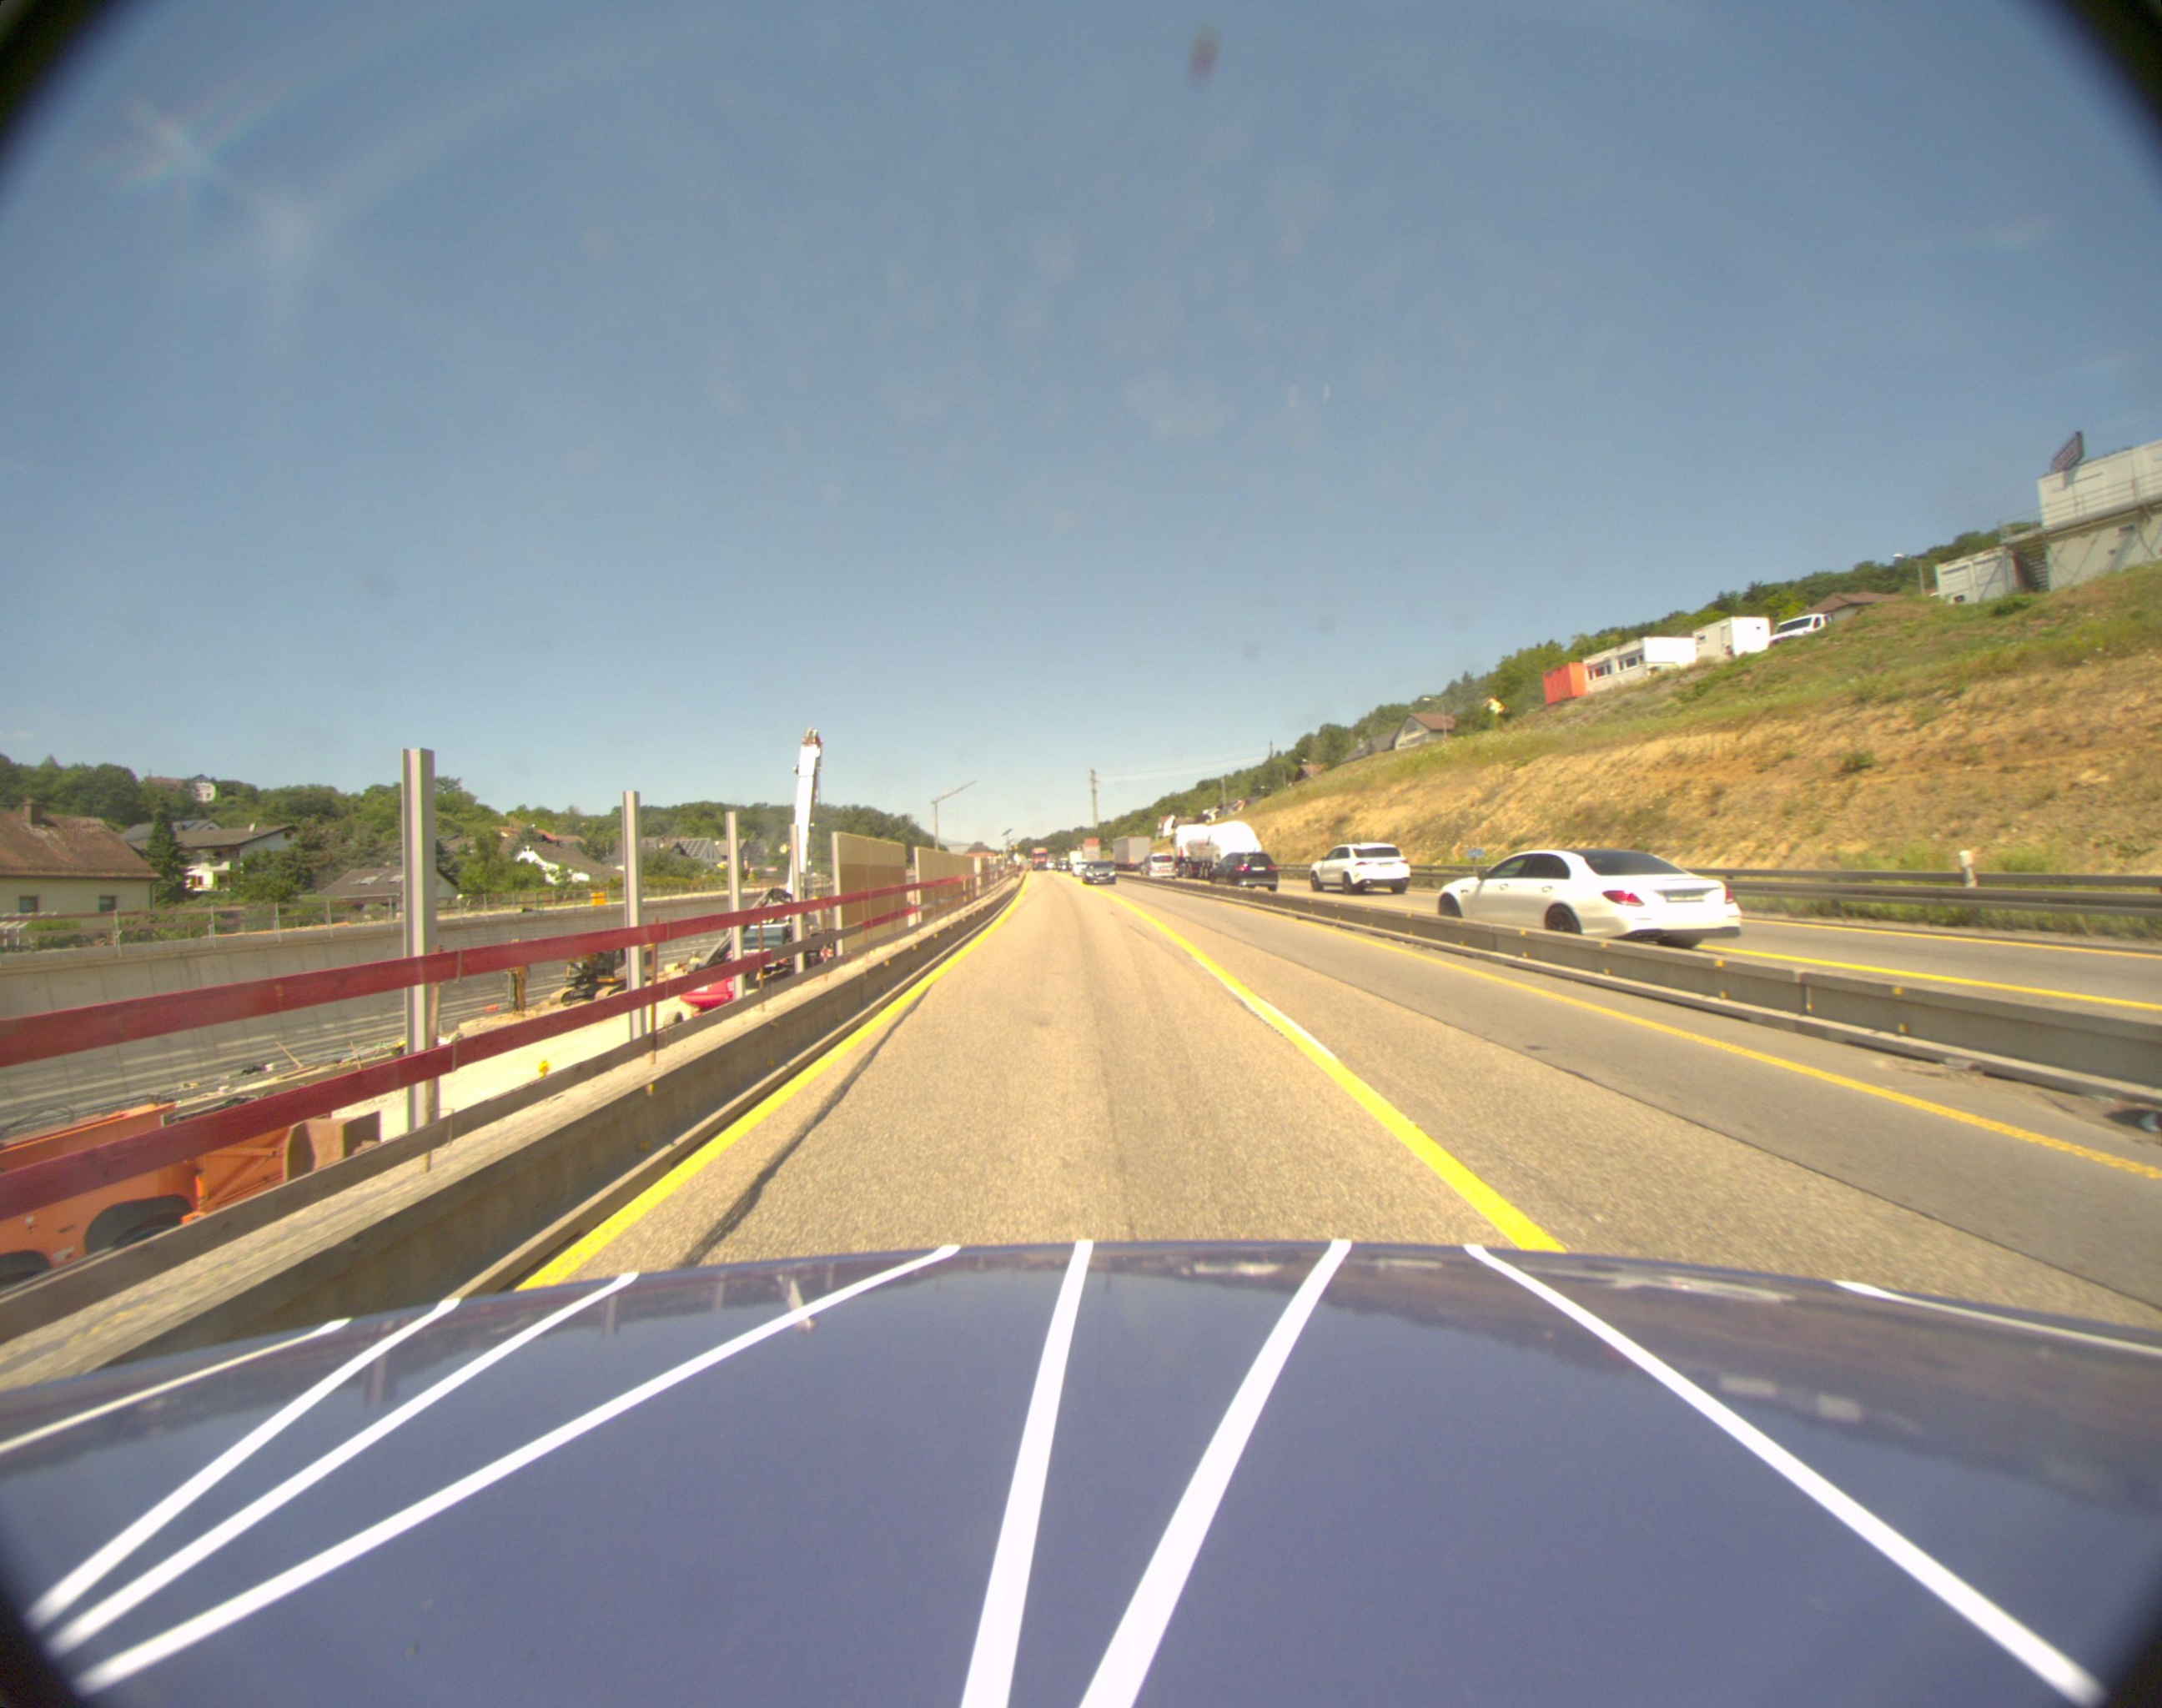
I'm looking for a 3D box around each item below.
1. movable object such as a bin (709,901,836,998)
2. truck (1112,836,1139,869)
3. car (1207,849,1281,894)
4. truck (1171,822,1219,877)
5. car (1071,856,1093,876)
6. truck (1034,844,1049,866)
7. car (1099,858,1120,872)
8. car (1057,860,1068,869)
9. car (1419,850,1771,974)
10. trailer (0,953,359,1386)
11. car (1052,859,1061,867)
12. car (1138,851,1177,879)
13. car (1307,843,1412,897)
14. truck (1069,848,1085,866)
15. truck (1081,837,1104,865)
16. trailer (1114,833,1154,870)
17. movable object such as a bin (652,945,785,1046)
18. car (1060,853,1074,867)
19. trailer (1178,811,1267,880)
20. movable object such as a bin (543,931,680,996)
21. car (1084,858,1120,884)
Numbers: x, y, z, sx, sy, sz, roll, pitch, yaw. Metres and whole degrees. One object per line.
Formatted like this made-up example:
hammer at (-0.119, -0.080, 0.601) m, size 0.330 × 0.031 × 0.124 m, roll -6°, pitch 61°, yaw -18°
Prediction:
movable object such as a bin at (-14.943, 4.465, 37.780) m, size 2.974 × 3.467 × 9.148 m, roll -4°, pitch 0°, yaw -5°
truck at (5.657, -0.142, 97.154) m, size 2.706 × 4.026 × 3.953 m, roll -2°, pitch 0°, yaw -4°
car at (6.559, 0.684, 31.106) m, size 1.796 × 1.602 × 4.732 m, roll -2°, pitch 0°, yaw -3°
truck at (8.242, -0.334, 55.393) m, size 2.597 × 3.779 × 3.766 m, roll -2°, pitch 0°, yaw -3°
car at (0.065, 1.149, 70.111) m, size 1.781 × 1.682 × 4.335 m, roll -2°, pitch -1°, yaw -3°
truck at (-7.146, 0.280, 137.596) m, size 2.606 × 3.703 × 10.535 m, roll -2°, pitch -1°, yaw -3°
car at (3.173, 1.222, 86.068) m, size 1.784 × 1.449 × 4.718 m, roll -2°, pitch 0°, yaw -4°
car at (-3.162, 1.770, 128.019) m, size 1.781 × 1.485 × 4.335 m, roll -2°, pitch -1°, yaw -3°
car at (7.490, 0.736, 11.894) m, size 1.967 × 1.455 × 4.939 m, roll -2°, pitch 0°, yaw -3°
trailer at (-12.232, 3.447, 4.985) m, size 2.766 × 3.863 × 13.047 m, roll -2°, pitch 0°, yaw -2°
car at (-5.136, 1.886, 156.691) m, size 1.781 × 1.486 × 4.335 m, roll -2°, pitch 0°, yaw -3°
car at (5.007, 0.702, 50.254) m, size 1.885 × 1.734 × 4.481 m, roll -1°, pitch 0°, yaw -3°
car at (9.888, 0.541, 27.400) m, size 1.796 × 1.752 × 4.536 m, roll -1°, pitch 0°, yaw -4°
truck at (-0.815, 0.560, 145.365) m, size 2.545 × 3.354 × 7.036 m, roll -2°, pitch 0°, yaw -3°
truck at (1.529, -0.322, 107.795) m, size 2.597 × 3.736 × 7.356 m, roll -2°, pitch 0°, yaw -3°
trailer at (6.142, -0.201, 90.114) m, size 2.706 × 4.000 × 13.698 m, roll -2°, pitch 0°, yaw -4°
movable object such as a bin at (-12.170, 4.674, 25.959) m, size 2.174 × 2.417 × 4.820 m, roll -4°, pitch 0°, yaw -2°
car at (-1.995, 0.850, 106.707) m, size 1.781 × 1.727 × 4.335 m, roll -2°, pitch -1°, yaw -3°
trailer at (8.679, -0.427, 48.373) m, size 2.597 × 3.779 × 11.914 m, roll -2°, pitch 0°, yaw -3°
movable object such as a bin at (-26.919, 6.172, 44.136) m, size 3.172 × 2.431 × 7.892 m, roll -4°, pitch 0°, yaw -3°
car at (1.200, 1.033, 45.742) m, size 1.781 × 1.447 × 4.335 m, roll -2°, pitch -1°, yaw -3°
